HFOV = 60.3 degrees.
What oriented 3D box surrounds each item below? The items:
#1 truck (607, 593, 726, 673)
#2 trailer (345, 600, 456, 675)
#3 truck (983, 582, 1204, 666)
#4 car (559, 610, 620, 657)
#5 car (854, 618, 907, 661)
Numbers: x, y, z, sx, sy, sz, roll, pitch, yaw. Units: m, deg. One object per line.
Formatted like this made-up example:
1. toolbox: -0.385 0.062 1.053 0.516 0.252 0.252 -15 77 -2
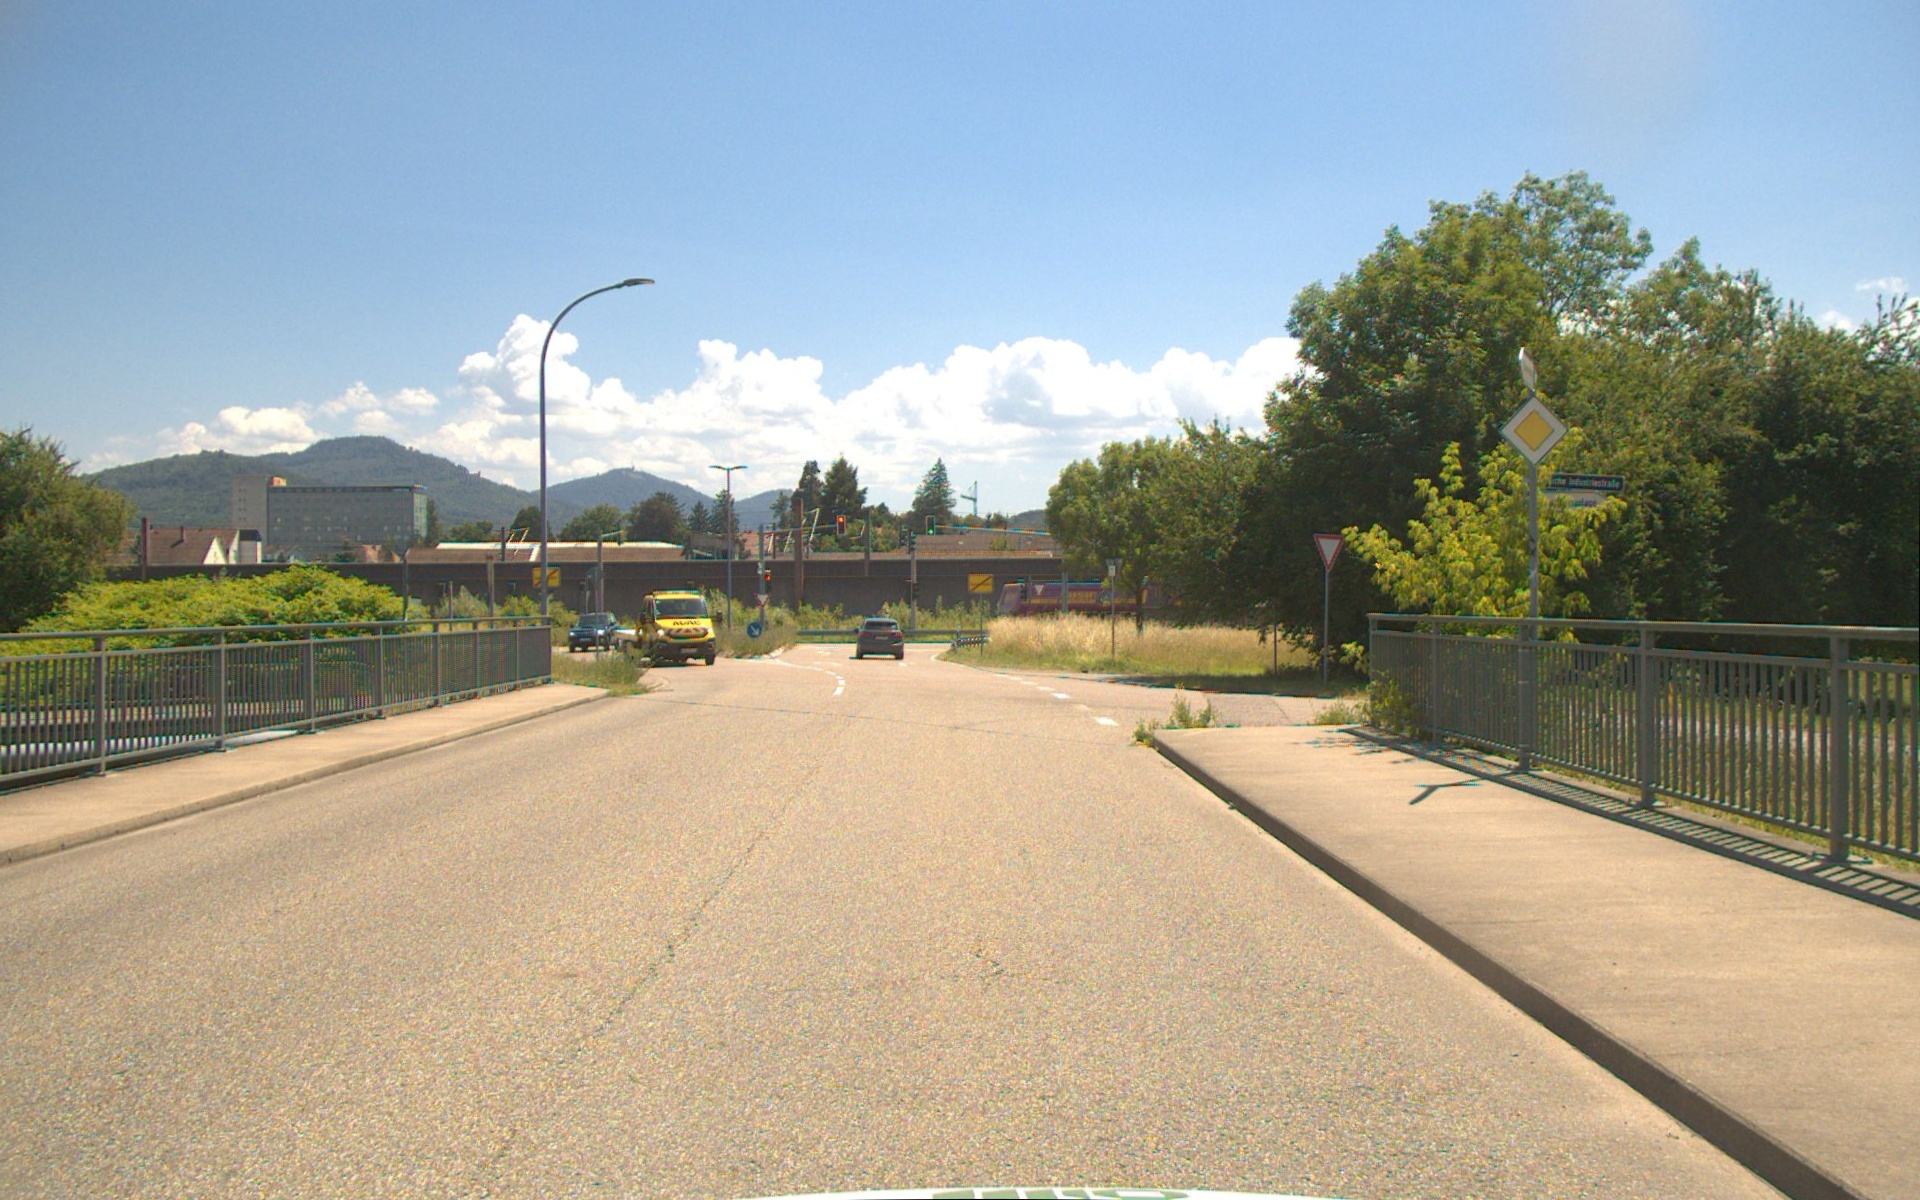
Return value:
1. truck: -9.975 1.126 55.471 2.278 2.378 8.994 -2 -1 -21
2. trailer: -16.147 1.070 47.640 1.837 2.049 3.906 1 -1 -38
3. truck: 7.093 1.296 86.799 11.614 4.254 2.983 1 -1 -24
4. car: -16.385 1.451 73.315 1.865 1.731 3.998 -5 2 -3
5. car: -3.072 1.509 64.246 1.953 1.529 3.998 1 0 -2
